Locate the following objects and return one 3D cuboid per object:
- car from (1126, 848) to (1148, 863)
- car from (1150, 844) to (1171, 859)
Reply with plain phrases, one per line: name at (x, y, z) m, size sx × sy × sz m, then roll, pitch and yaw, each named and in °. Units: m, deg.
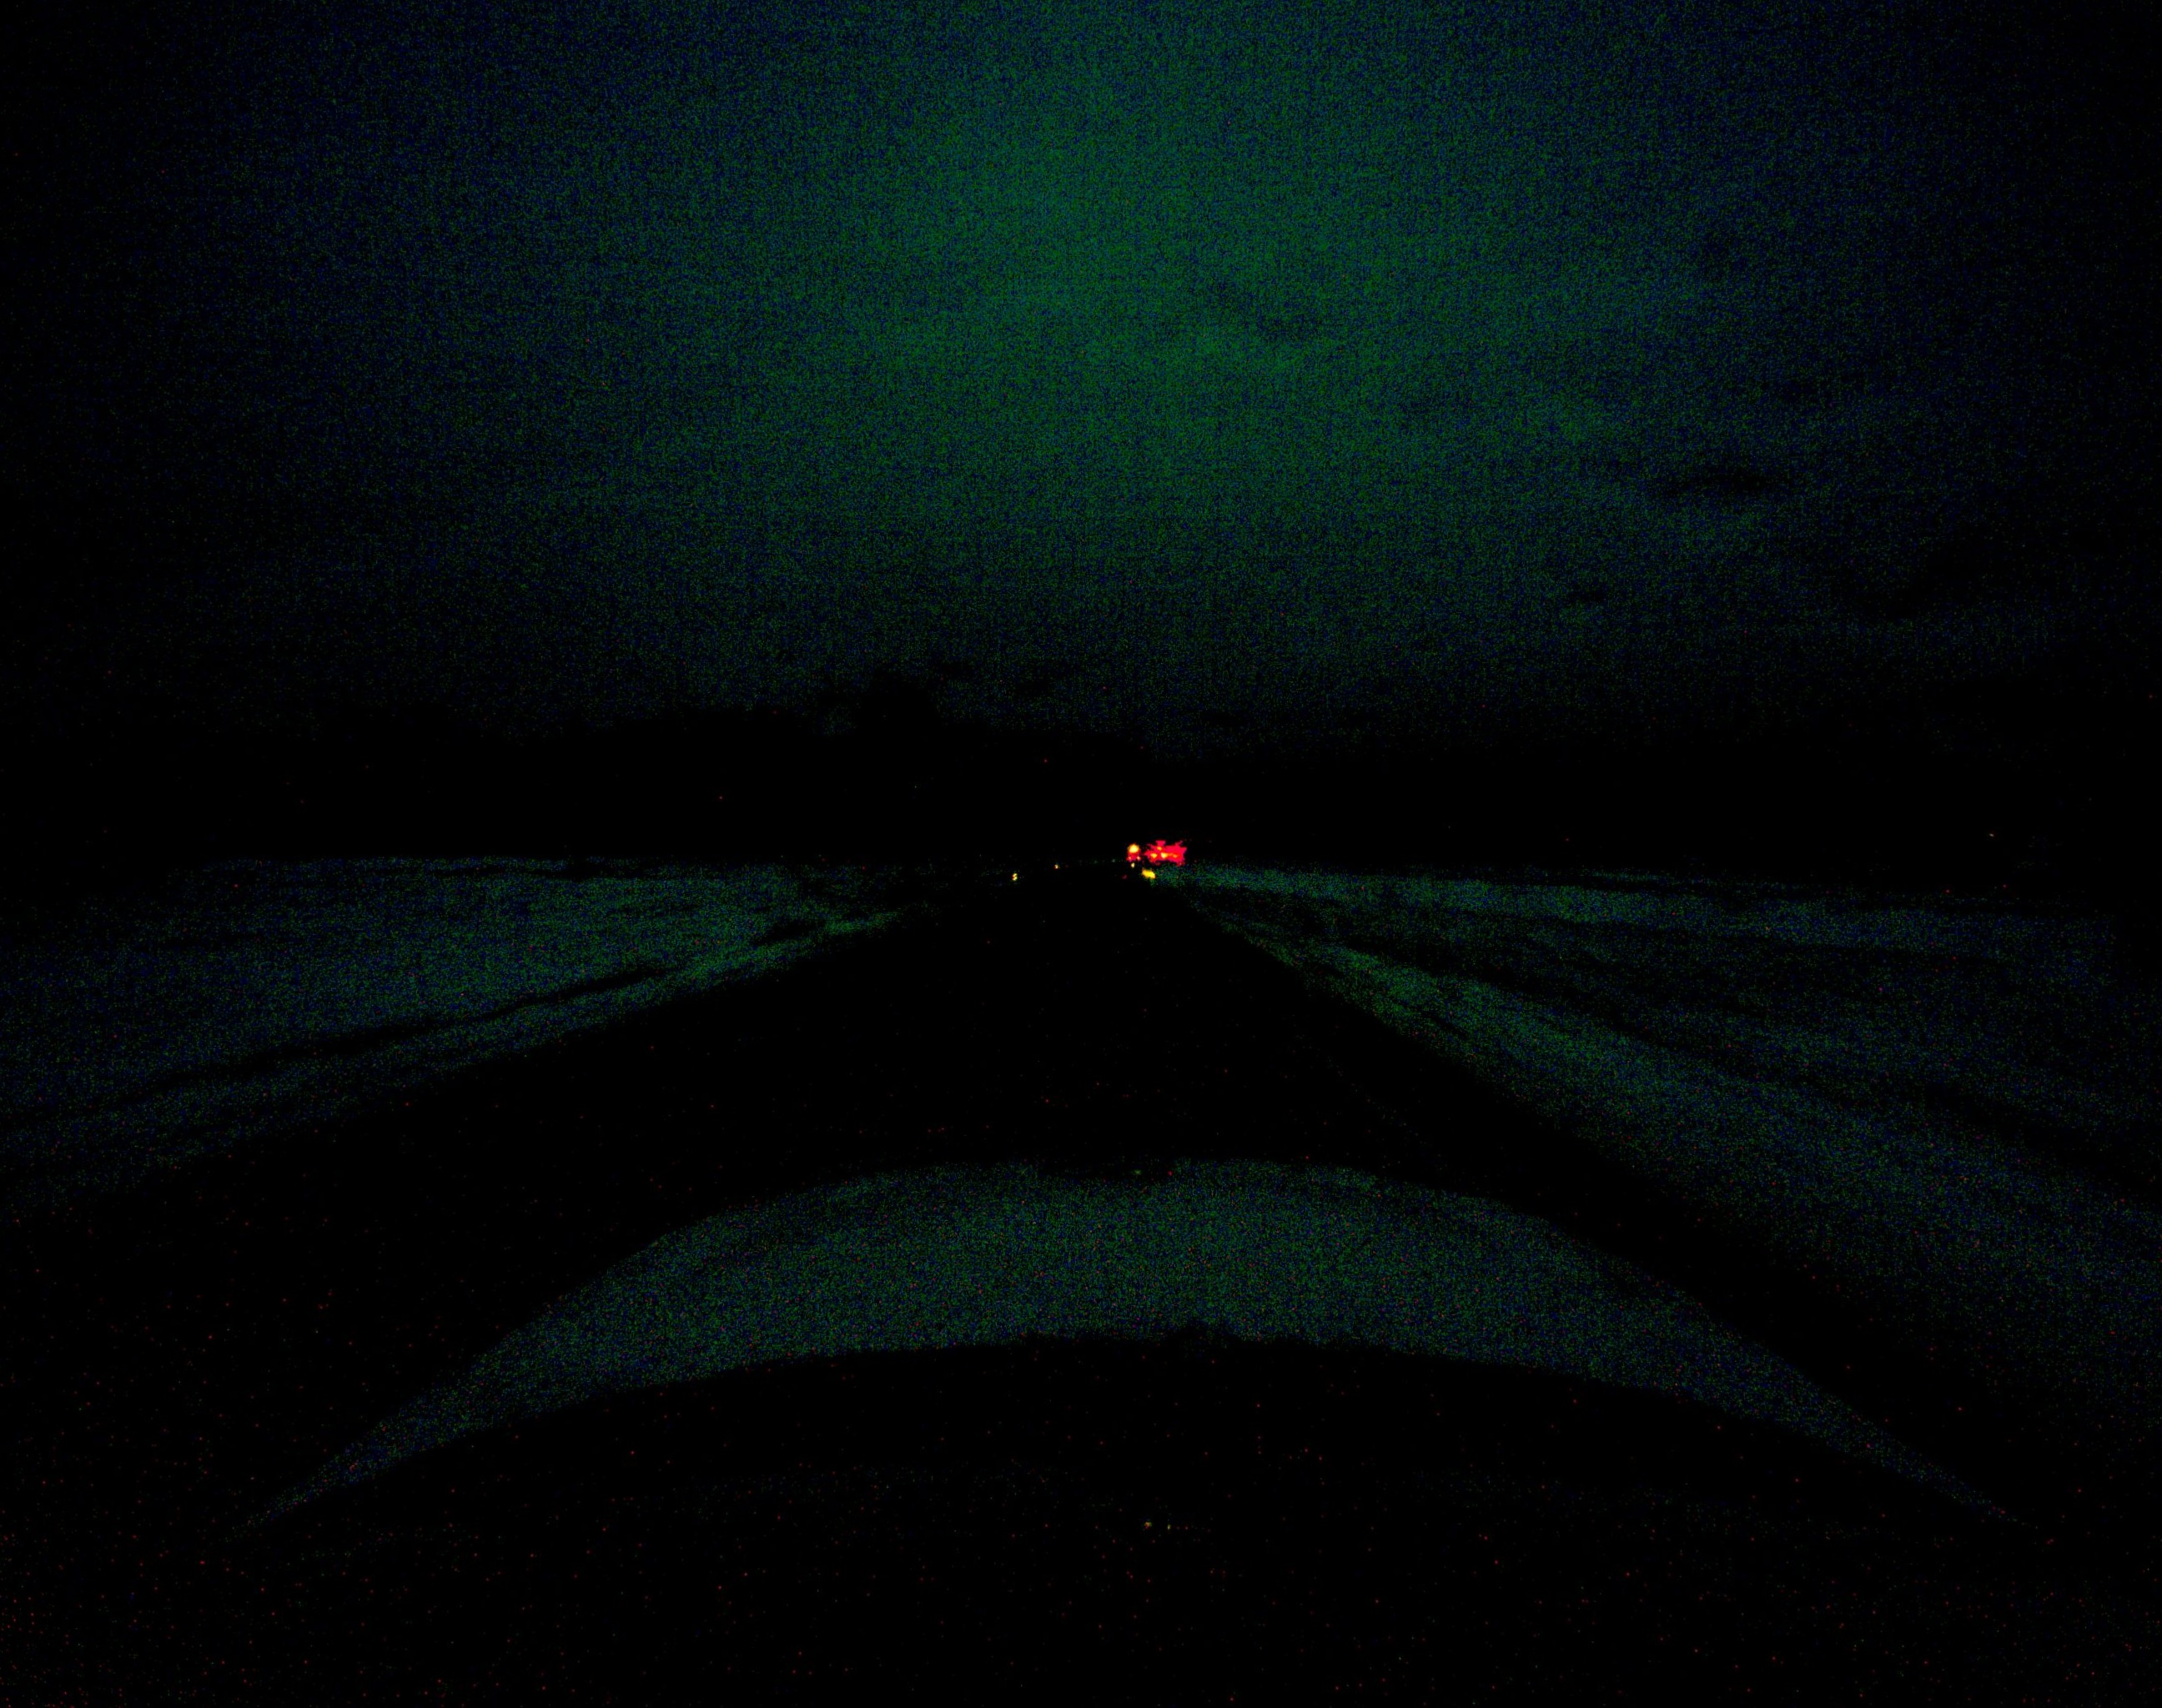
car at (8.359, 0.245, 120.833) m, size 1.976 × 2.051 × 4.022 m, roll 3°, pitch 1°, yaw 22°
car at (14.277, -0.414, 145.504) m, size 2.232 × 2.645 × 5.035 m, roll -1°, pitch 1°, yaw 24°
